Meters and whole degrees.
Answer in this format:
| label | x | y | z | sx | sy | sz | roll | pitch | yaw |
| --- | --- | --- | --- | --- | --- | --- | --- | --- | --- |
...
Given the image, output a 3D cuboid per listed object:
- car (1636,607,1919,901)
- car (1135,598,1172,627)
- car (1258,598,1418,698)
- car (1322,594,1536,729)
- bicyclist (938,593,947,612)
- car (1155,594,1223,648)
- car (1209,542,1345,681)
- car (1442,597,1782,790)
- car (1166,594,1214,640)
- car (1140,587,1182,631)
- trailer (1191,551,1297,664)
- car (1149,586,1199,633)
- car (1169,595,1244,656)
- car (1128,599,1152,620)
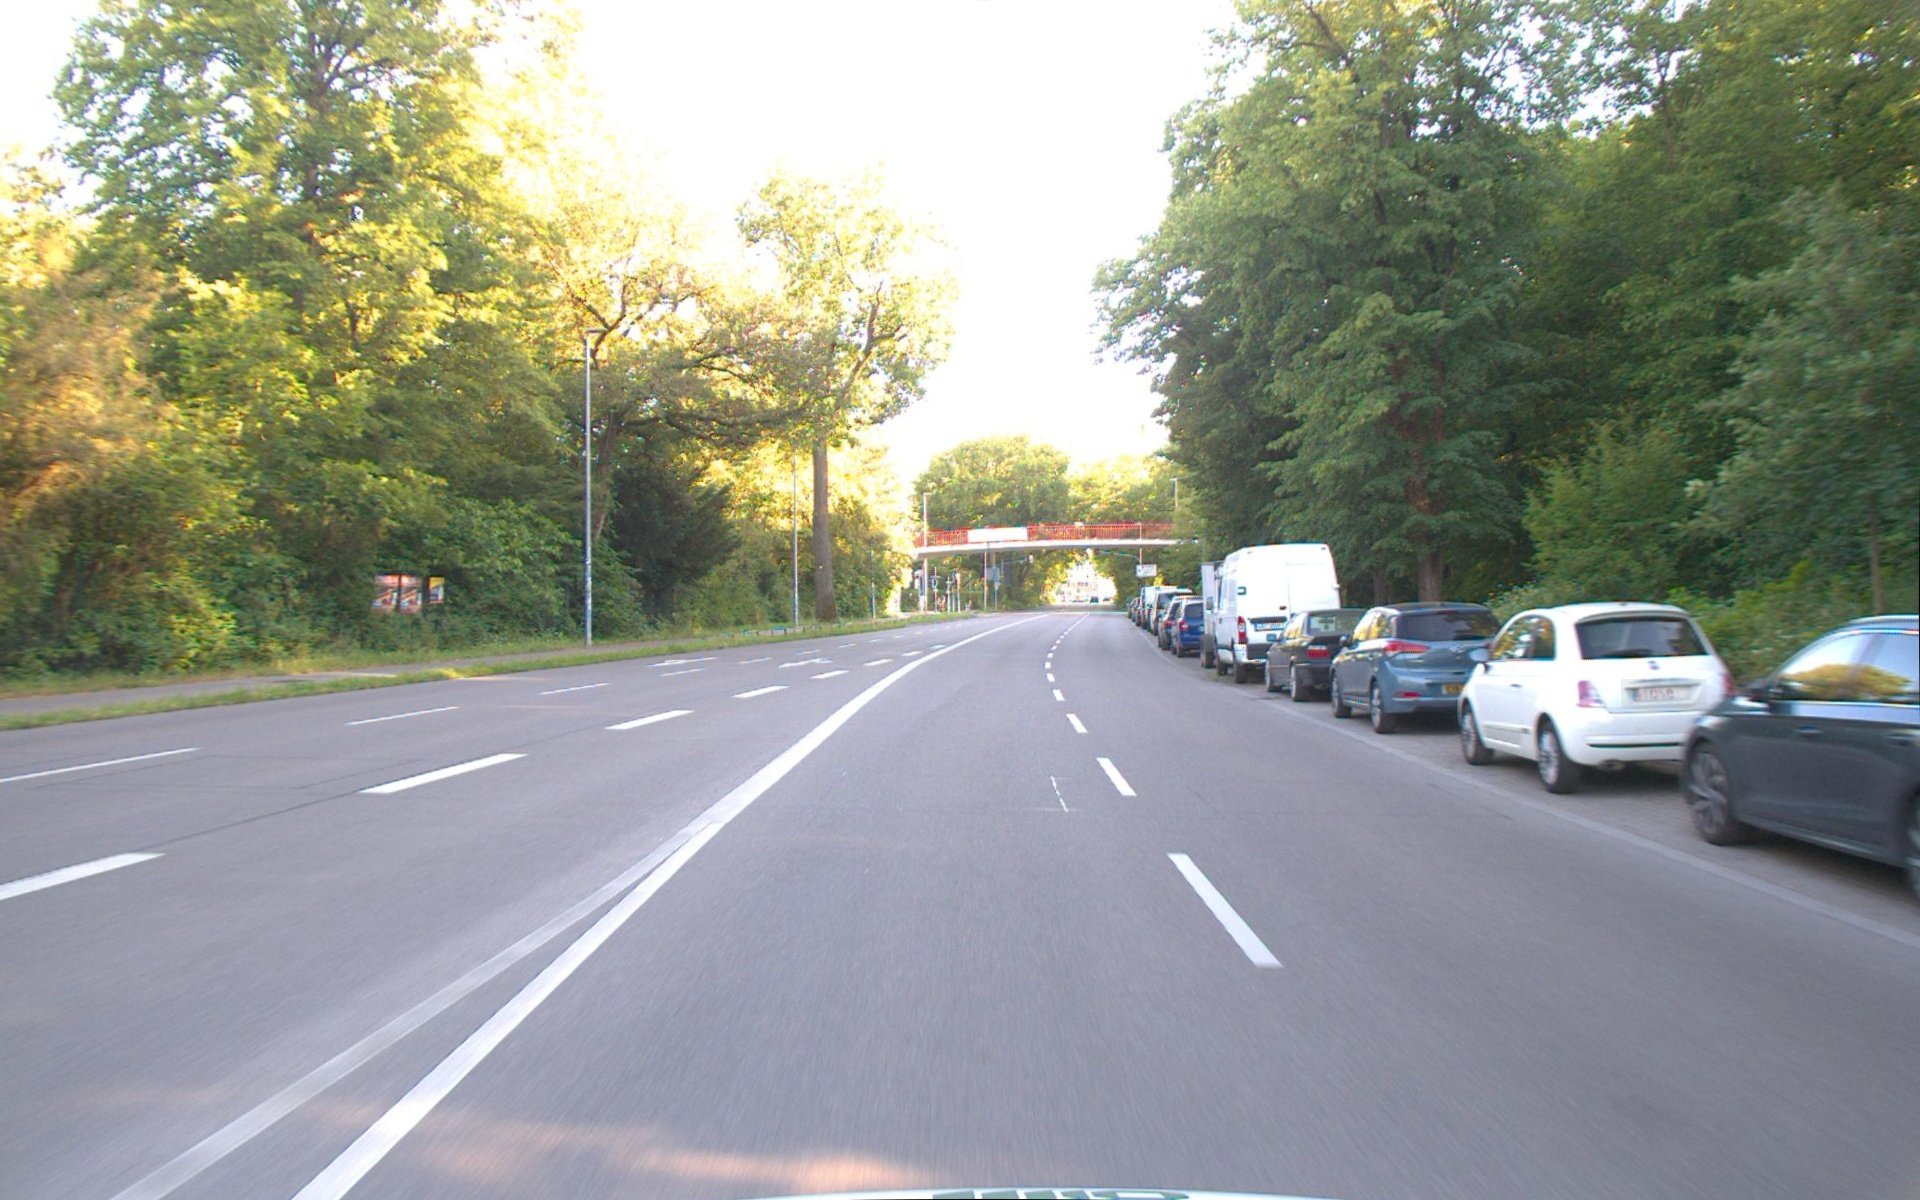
| label | x | y | z | sx | sy | sz | roll | pitch | yaw |
| --- | --- | --- | --- | --- | --- | --- | --- | --- | --- |
| car | 5.602 | 0.765 | 9.292 | 1.682 | 1.436 | 4.907 | -1 | 0 | 1 |
| car | 10.149 | 0.647 | 86.842 | 1.829 | 1.431 | 4.371 | -1 | 0 | 5 |
| car | 5.916 | 0.714 | 26.380 | 1.642 | 1.425 | 4.652 | -1 | 0 | 2 |
| car | 5.719 | 0.704 | 20.636 | 1.642 | 1.490 | 4.067 | -1 | 0 | 2 |
| bicyclist | -1.488 | 0.231 | 141.069 | 0.697 | 1.586 | 1.143 | 1 | -1 | 5 |
| car | 7.029 | 0.641 | 51.180 | 1.722 | 1.562 | 4.991 | -1 | 0 | 4 |
| car | 6.105 | 0.228 | 32.454 | 1.864 | 2.466 | 5.578 | -1 | 0 | 3 |
| car | 5.654 | 0.748 | 14.829 | 1.643 | 1.490 | 3.689 | -1 | 0 | 1 |
| car | 8.023 | 0.587 | 57.809 | 1.552 | 1.521 | 3.182 | -1 | 0 | 6 |
| car | 9.729 | 0.432 | 80.259 | 1.829 | 2.016 | 5.478 | -1 | 0 | 5 |
| trailer | 6.644 | 0.177 | 39.155 | 1.864 | 2.466 | 5.128 | -1 | 0 | 3 |
| car | 8.709 | 0.405 | 67.640 | 1.722 | 1.836 | 4.739 | -1 | 0 | 4 |
| car | 6.715 | 0.676 | 45.415 | 1.642 | 1.562 | 4.355 | -1 | 0 | 4 |
| car | 13.058 | 0.695 | 120.162 | 1.737 | 1.479 | 4.390 | -1 | 0 | 6 |
